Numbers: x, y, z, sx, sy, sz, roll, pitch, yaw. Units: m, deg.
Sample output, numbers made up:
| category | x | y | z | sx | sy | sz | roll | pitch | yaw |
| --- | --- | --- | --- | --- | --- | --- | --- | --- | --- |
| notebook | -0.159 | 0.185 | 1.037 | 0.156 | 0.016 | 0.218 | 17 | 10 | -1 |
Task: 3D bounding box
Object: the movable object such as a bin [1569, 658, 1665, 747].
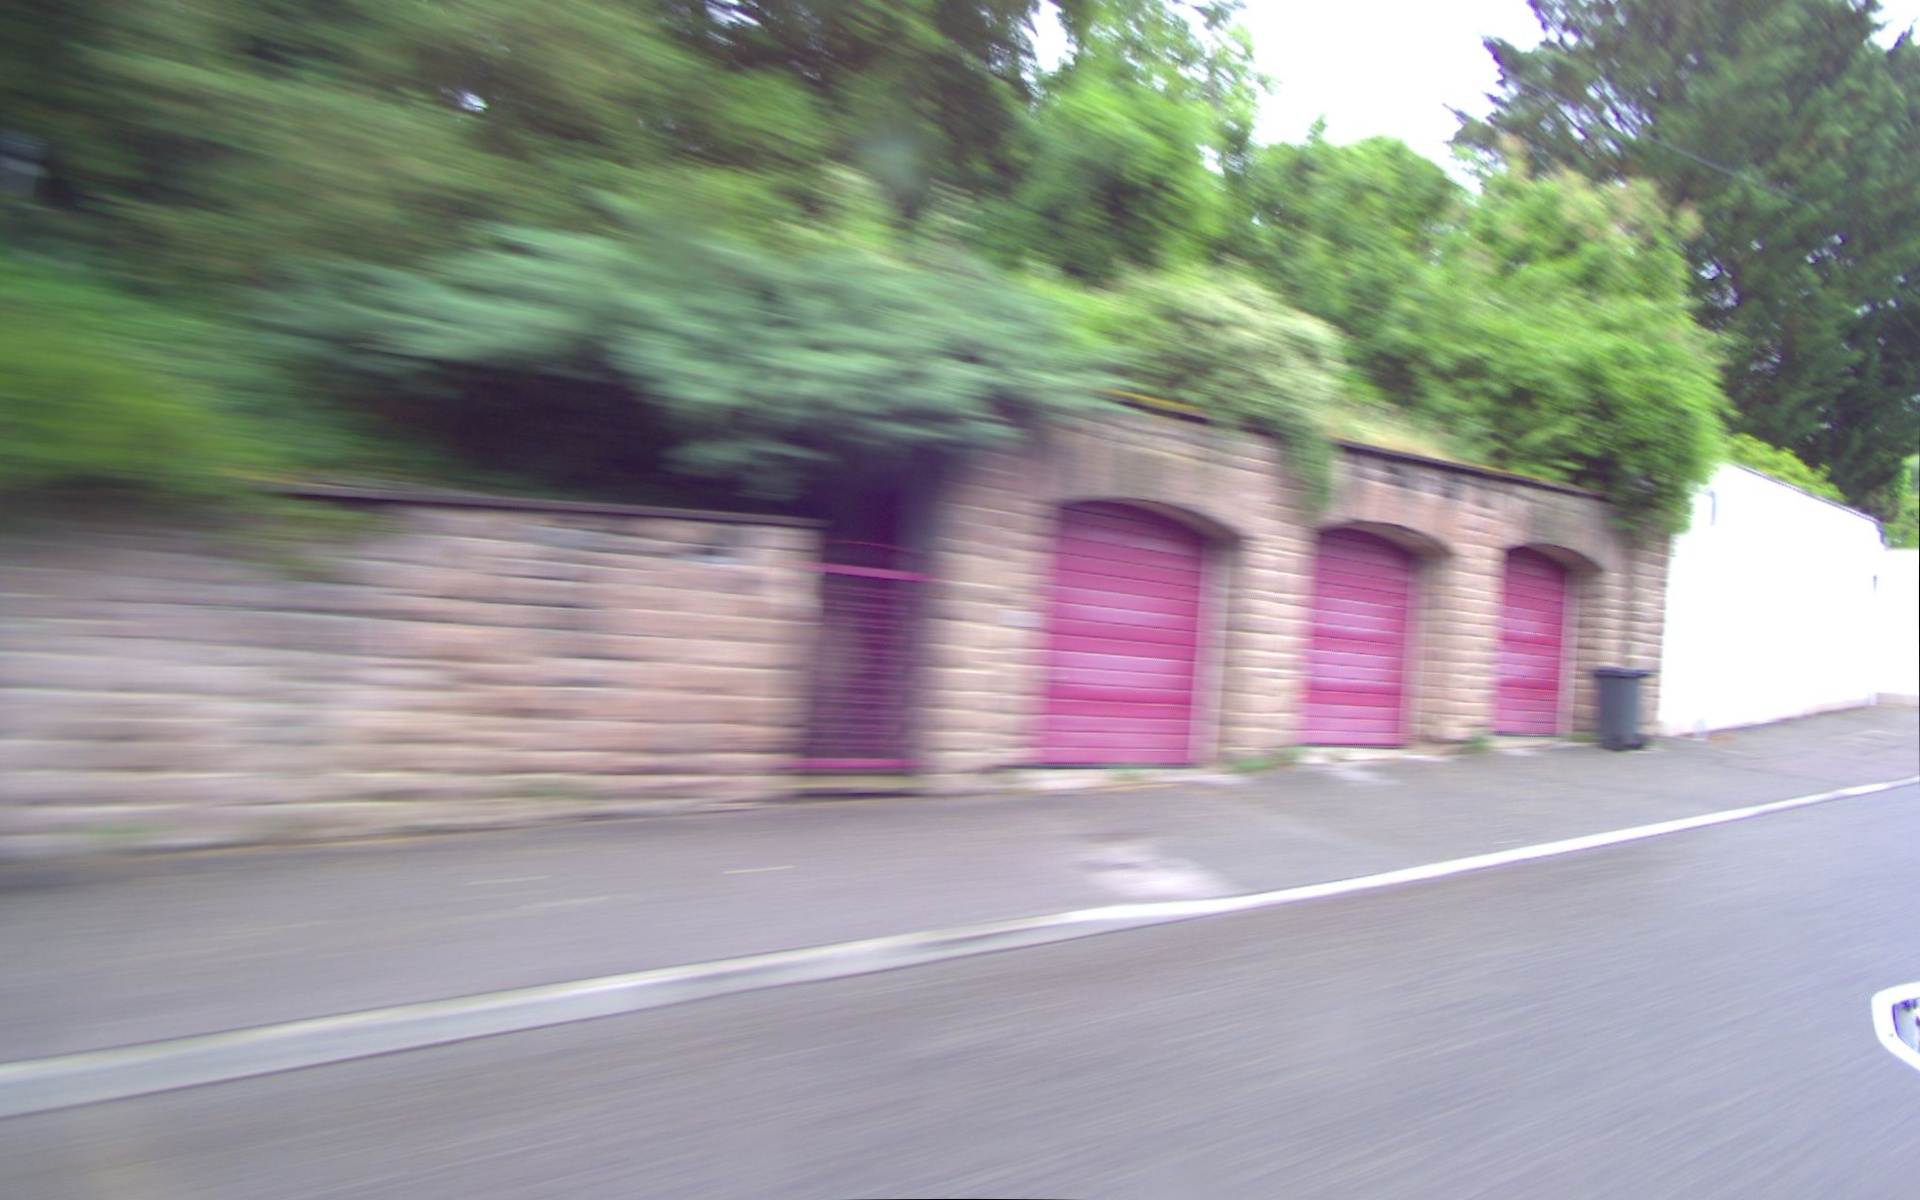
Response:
| category | x | y | z | sx | sy | sz | roll | pitch | yaw |
| --- | --- | --- | --- | --- | --- | --- | --- | --- | --- |
| movable object such as a bin | 7.593 | 1.170 | 11.616 | 0.669 | 0.932 | 0.655 | 2 | 2 | -30 |
